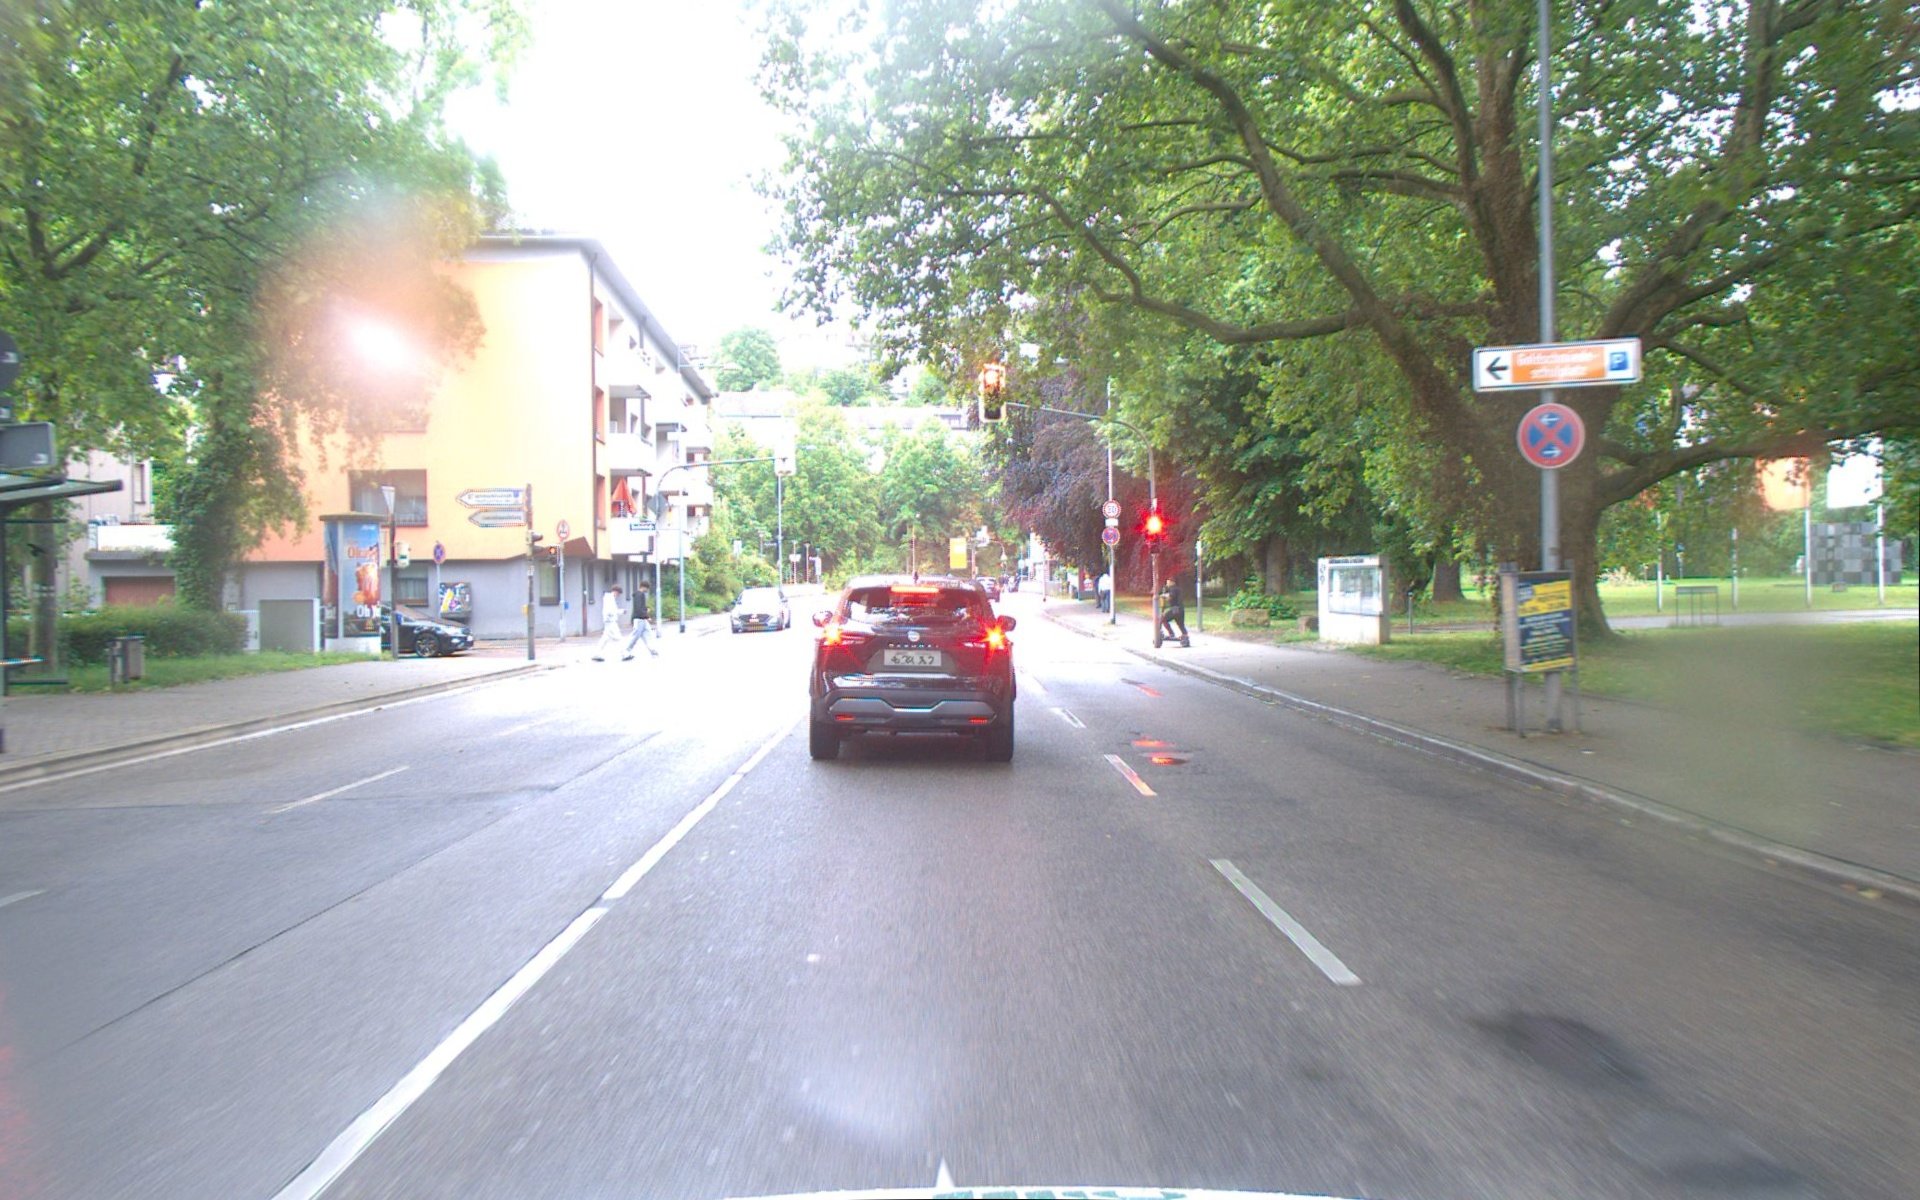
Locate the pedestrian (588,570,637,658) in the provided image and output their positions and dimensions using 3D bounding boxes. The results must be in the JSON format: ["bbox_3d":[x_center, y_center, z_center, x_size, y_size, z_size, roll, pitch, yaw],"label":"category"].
[{"bbox_3d":[-7.723,0.307,36.801,1.017,1.908,0.656,-1,0,-12],"label":"pedestrian"}]

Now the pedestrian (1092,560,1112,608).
[{"bbox_3d":[6.115,-0.694,71.126,0.710,2.049,0.851,-1,0,-1],"label":"pedestrian"}]

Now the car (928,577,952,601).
[{"bbox_3d":[-1.389,-0.783,115.476,1.601,1.559,3.967,-1,1,-1],"label":"car"}]

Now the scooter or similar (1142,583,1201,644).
[{"bbox_3d":[5.152,0.326,40.293,1.364,1.471,0.818,-1,-1,11],"label":"scooter or similar"}]

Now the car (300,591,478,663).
[{"bbox_3d":[-14.513,0.658,42.244,4.053,1.654,1.846,-2,1,-13],"label":"car"}]

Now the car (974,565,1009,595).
[{"bbox_3d":[1.963,-1.208,103.317,1.952,1.765,4.002,2,0,4],"label":"car"}]

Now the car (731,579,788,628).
[{"bbox_3d":[-6.928,0.095,57.361,1.760,1.560,3.864,-2,1,-5],"label":"car"}]

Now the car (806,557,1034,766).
[{"bbox_3d":[-0.361,0.490,15.731,1.874,1.709,3.999,1,1,-1],"label":"car"}]

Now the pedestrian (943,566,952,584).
[{"bbox_3d":[-1.144,-2.304,151.775,0.498,1.702,0.658,-1,1,27],"label":"pedestrian"}]

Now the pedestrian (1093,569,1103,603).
[{"bbox_3d":[6.284,-0.622,75.298,0.382,1.528,0.559,-1,0,-1],"label":"pedestrian"}]

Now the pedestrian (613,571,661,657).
[{"bbox_3d":[-7.333,0.316,37.564,1.017,1.908,0.656,-1,0,-12],"label":"pedestrian"}]

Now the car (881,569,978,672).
[{"bbox_3d":[-0.566,0.338,31.047,1.664,1.776,3.640,-1,1,-1],"label":"car"}]

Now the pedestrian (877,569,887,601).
[{"bbox_3d":[-4.612,-0.886,97.579,0.498,1.833,0.619,-1,0,-1],"label":"pedestrian"}]

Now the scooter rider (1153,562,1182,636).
[{"bbox_3d":[5.060,-0.017,40.322,0.629,1.797,0.736,-1,-1,12],"label":"scooter rider"}]
